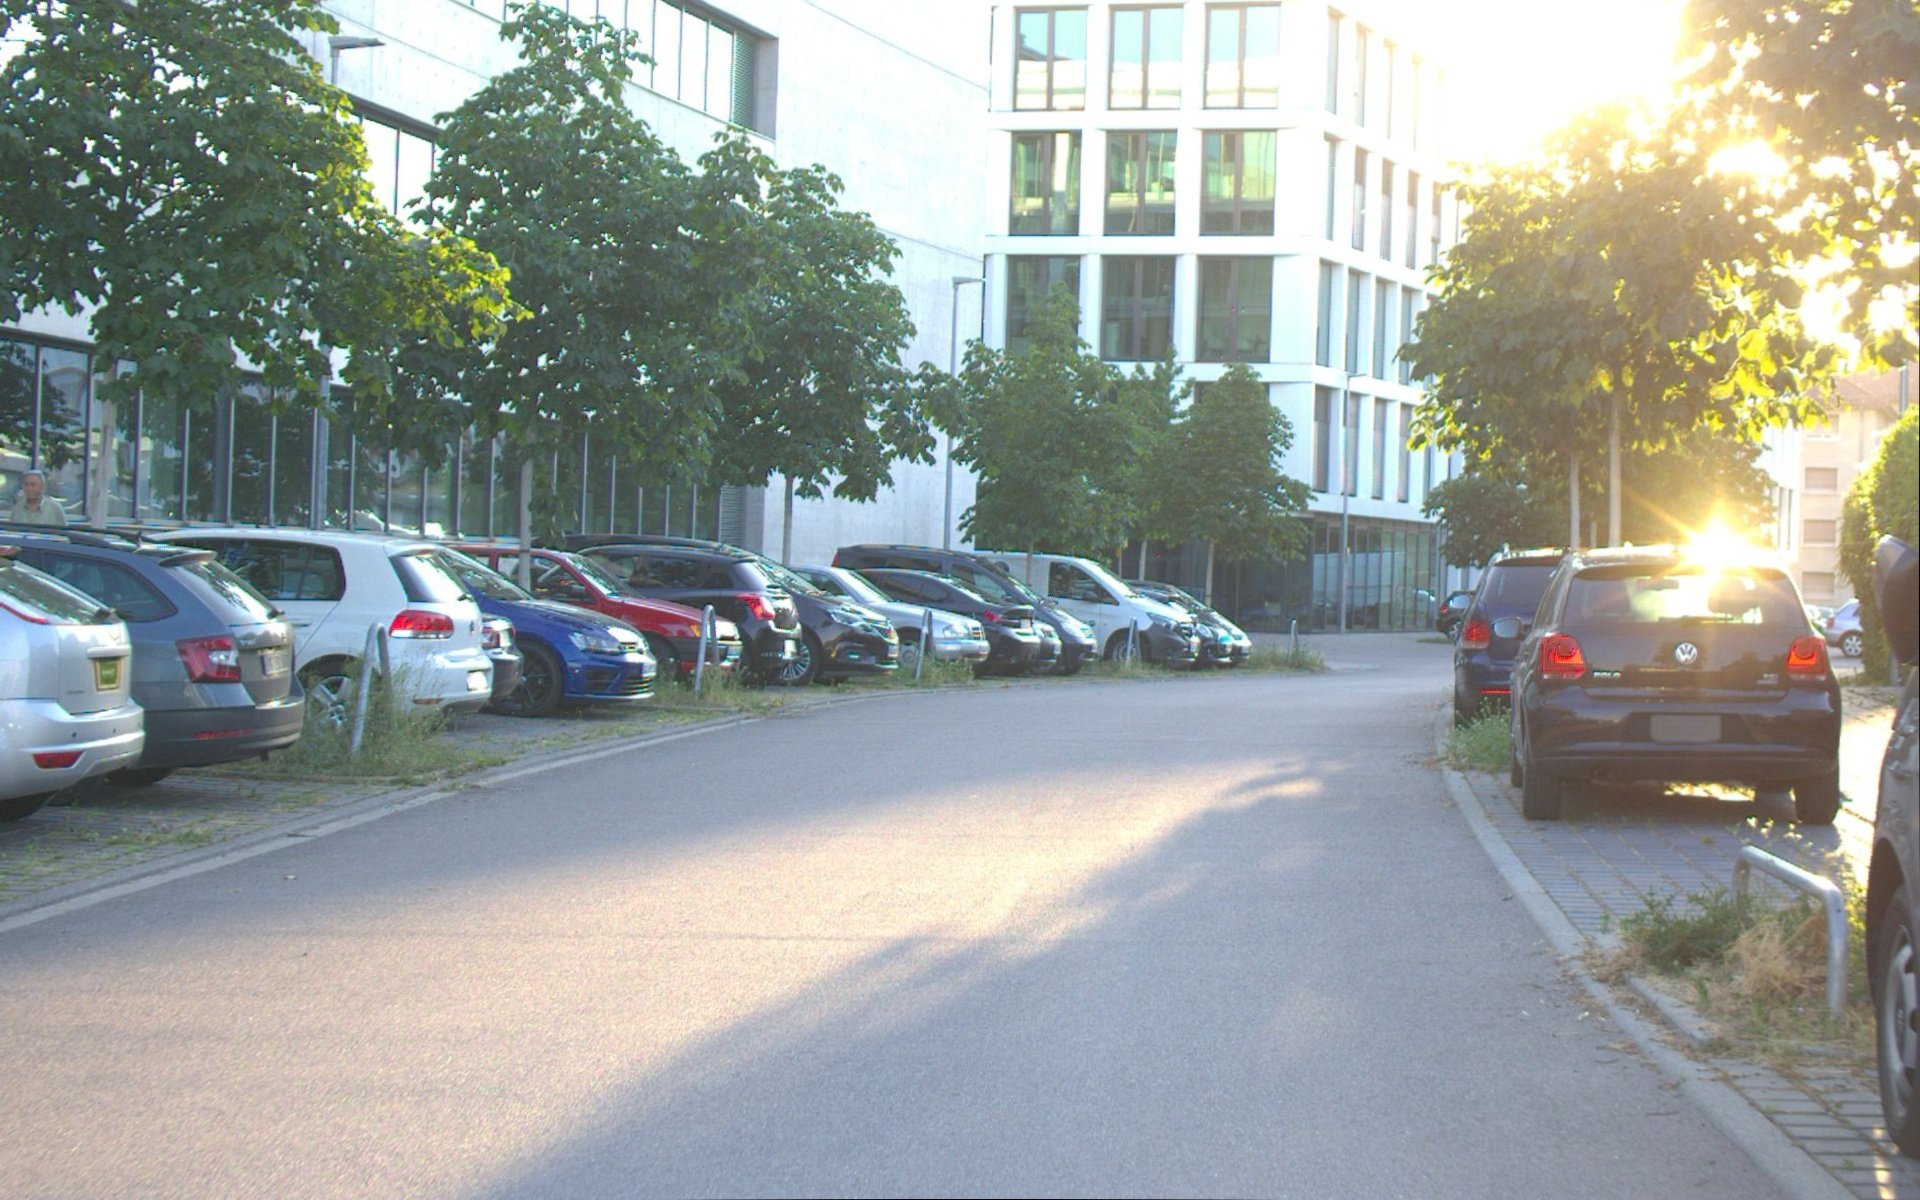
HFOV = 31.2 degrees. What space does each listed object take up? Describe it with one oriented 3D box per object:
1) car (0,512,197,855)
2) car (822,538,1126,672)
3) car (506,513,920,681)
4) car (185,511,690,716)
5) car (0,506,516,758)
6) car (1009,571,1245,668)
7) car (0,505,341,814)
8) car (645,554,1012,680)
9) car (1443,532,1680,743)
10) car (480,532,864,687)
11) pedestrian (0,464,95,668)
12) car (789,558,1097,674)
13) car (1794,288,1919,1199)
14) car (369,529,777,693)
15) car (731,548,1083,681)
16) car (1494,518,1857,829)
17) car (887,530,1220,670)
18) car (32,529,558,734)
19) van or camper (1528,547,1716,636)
[{"bbox_3d":[-5.964,0.274,16.533,4.086,1.523,1.846,3,1,2],"label":"car"},{"bbox_3d":[0.226,0.078,52.567,4.250,1.736,1.723,4,0,14],"label":"car"},{"bbox_3d":[-2.780,-0.038,39.173,4.311,1.690,1.895,2,0,10],"label":"car"},{"bbox_3d":[-4.425,0.095,29.393,3.871,1.506,1.759,3,1,8],"label":"car"},{"bbox_3d":[-5.255,0.178,23.733,3.988,1.506,1.759,3,1,6],"label":"car"},{"bbox_3d":[3.025,0.344,62.050,3.889,1.483,1.650,4,1,16],"label":"car"},{"bbox_3d":[-5.591,0.238,18.912,3.998,1.507,1.585,3,2,2],"label":"car"},{"bbox_3d":[-1.699,0.197,44.941,4.436,1.459,1.762,2,1,14],"label":"car"},{"bbox_3d":[4.888,0.248,27.953,1.711,1.544,4.546,1,1,10],"label":"car"},{"bbox_3d":[-3.033,0.093,36.493,3.704,1.453,1.678,2,0,10],"label":"car"},{"bbox_3d":[-8.245,-0.306,30.806,0.646,1.778,0.725,3,0,8],"label":"pedestrian"},{"bbox_3d":[-0.234,0.237,50.584,4.147,1.399,1.723,4,0,14],"label":"car"},{"bbox_3d":[3.094,0.375,6.674,2.066,2.088,4.871,1,1,4],"label":"car"},{"bbox_3d":[-3.850,0.104,34.504,3.703,1.453,1.711,2,0,9],"label":"car"},{"bbox_3d":[-0.717,0.193,47.148,4.401,1.494,1.761,4,0,18],"label":"car"},{"bbox_3d":[3.920,0.347,19.330,1.741,1.546,3.639,1,1,8],"label":"car"},{"bbox_3d":[1.558,0.007,56.849,5.080,1.940,1.887,4,0,15],"label":"car"},{"bbox_3d":[-5.088,0.218,26.579,3.633,1.357,1.686,3,1,3],"label":"car"},{"bbox_3d":[20.776,-0.281,107.942,5.459,2.475,1.773,3,2,23],"label":"van or camper"}]
